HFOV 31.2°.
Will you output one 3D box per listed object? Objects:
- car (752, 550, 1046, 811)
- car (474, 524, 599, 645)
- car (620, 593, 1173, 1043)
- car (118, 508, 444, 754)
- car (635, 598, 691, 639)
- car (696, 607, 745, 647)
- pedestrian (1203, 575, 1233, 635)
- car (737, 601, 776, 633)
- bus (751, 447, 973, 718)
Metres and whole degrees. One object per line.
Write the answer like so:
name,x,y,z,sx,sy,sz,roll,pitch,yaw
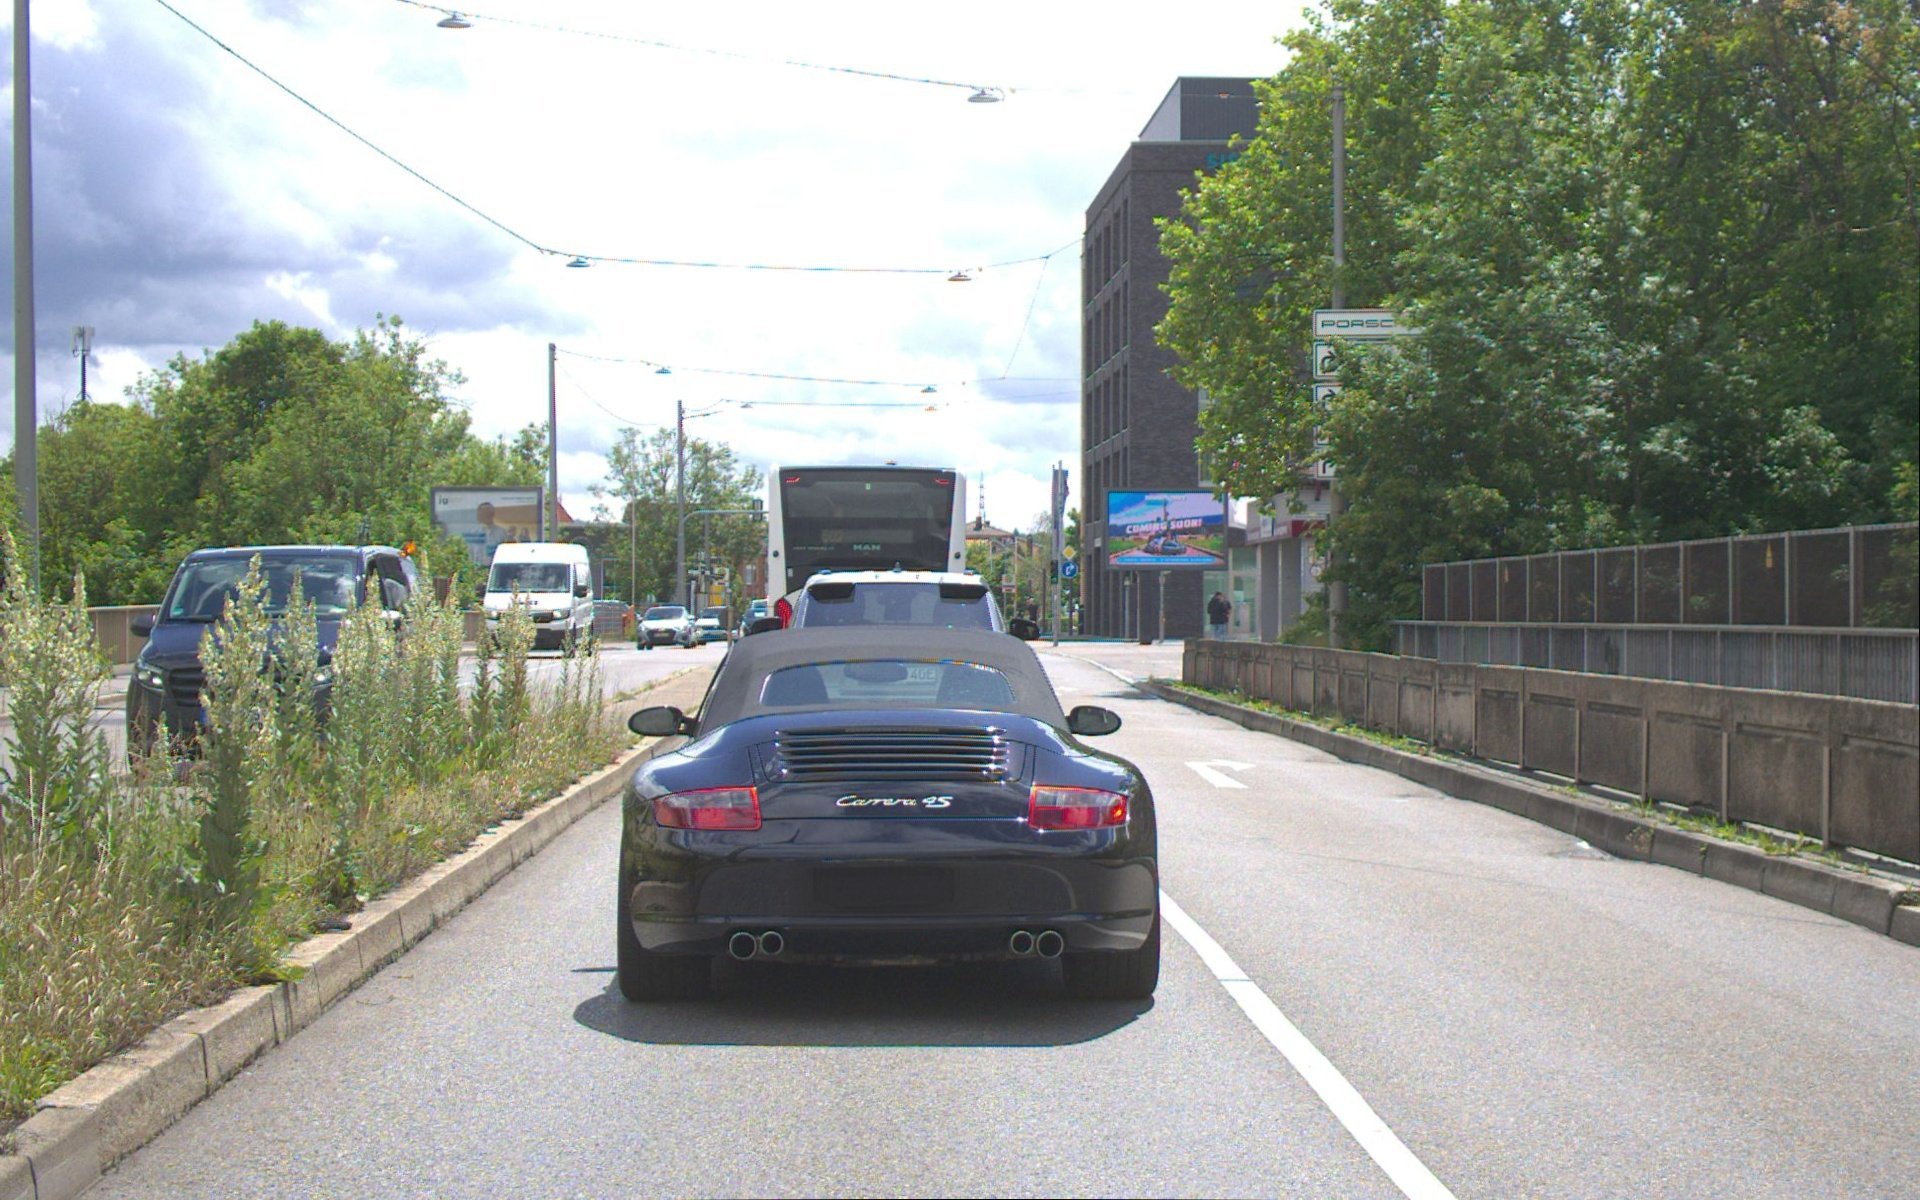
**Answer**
car,-0.429,0.499,24.592,1.879,1.588,4.230,2,2,-1
car,-9.444,-0.347,77.162,2.066,2.562,6.822,-1,0,-1
car,-0.396,0.689,12.867,1.719,1.271,4.089,1,2,-6
car,-5.564,0.201,28.765,1.993,1.882,4.869,0,1,-3
car,-10.098,0.623,117.016,1.637,1.359,4.195,0,0,-1
car,-9.622,1.080,138.223,1.810,1.555,4.207,1,0,-2
pedestrian,7.319,0.146,97.455,0.681,1.690,0.597,0,0,24
car,-9.350,0.778,158.408,1.628,1.426,4.000,0,0,-1
bus,-1.254,-0.487,49.254,2.689,3.244,12.059,2,3,0
